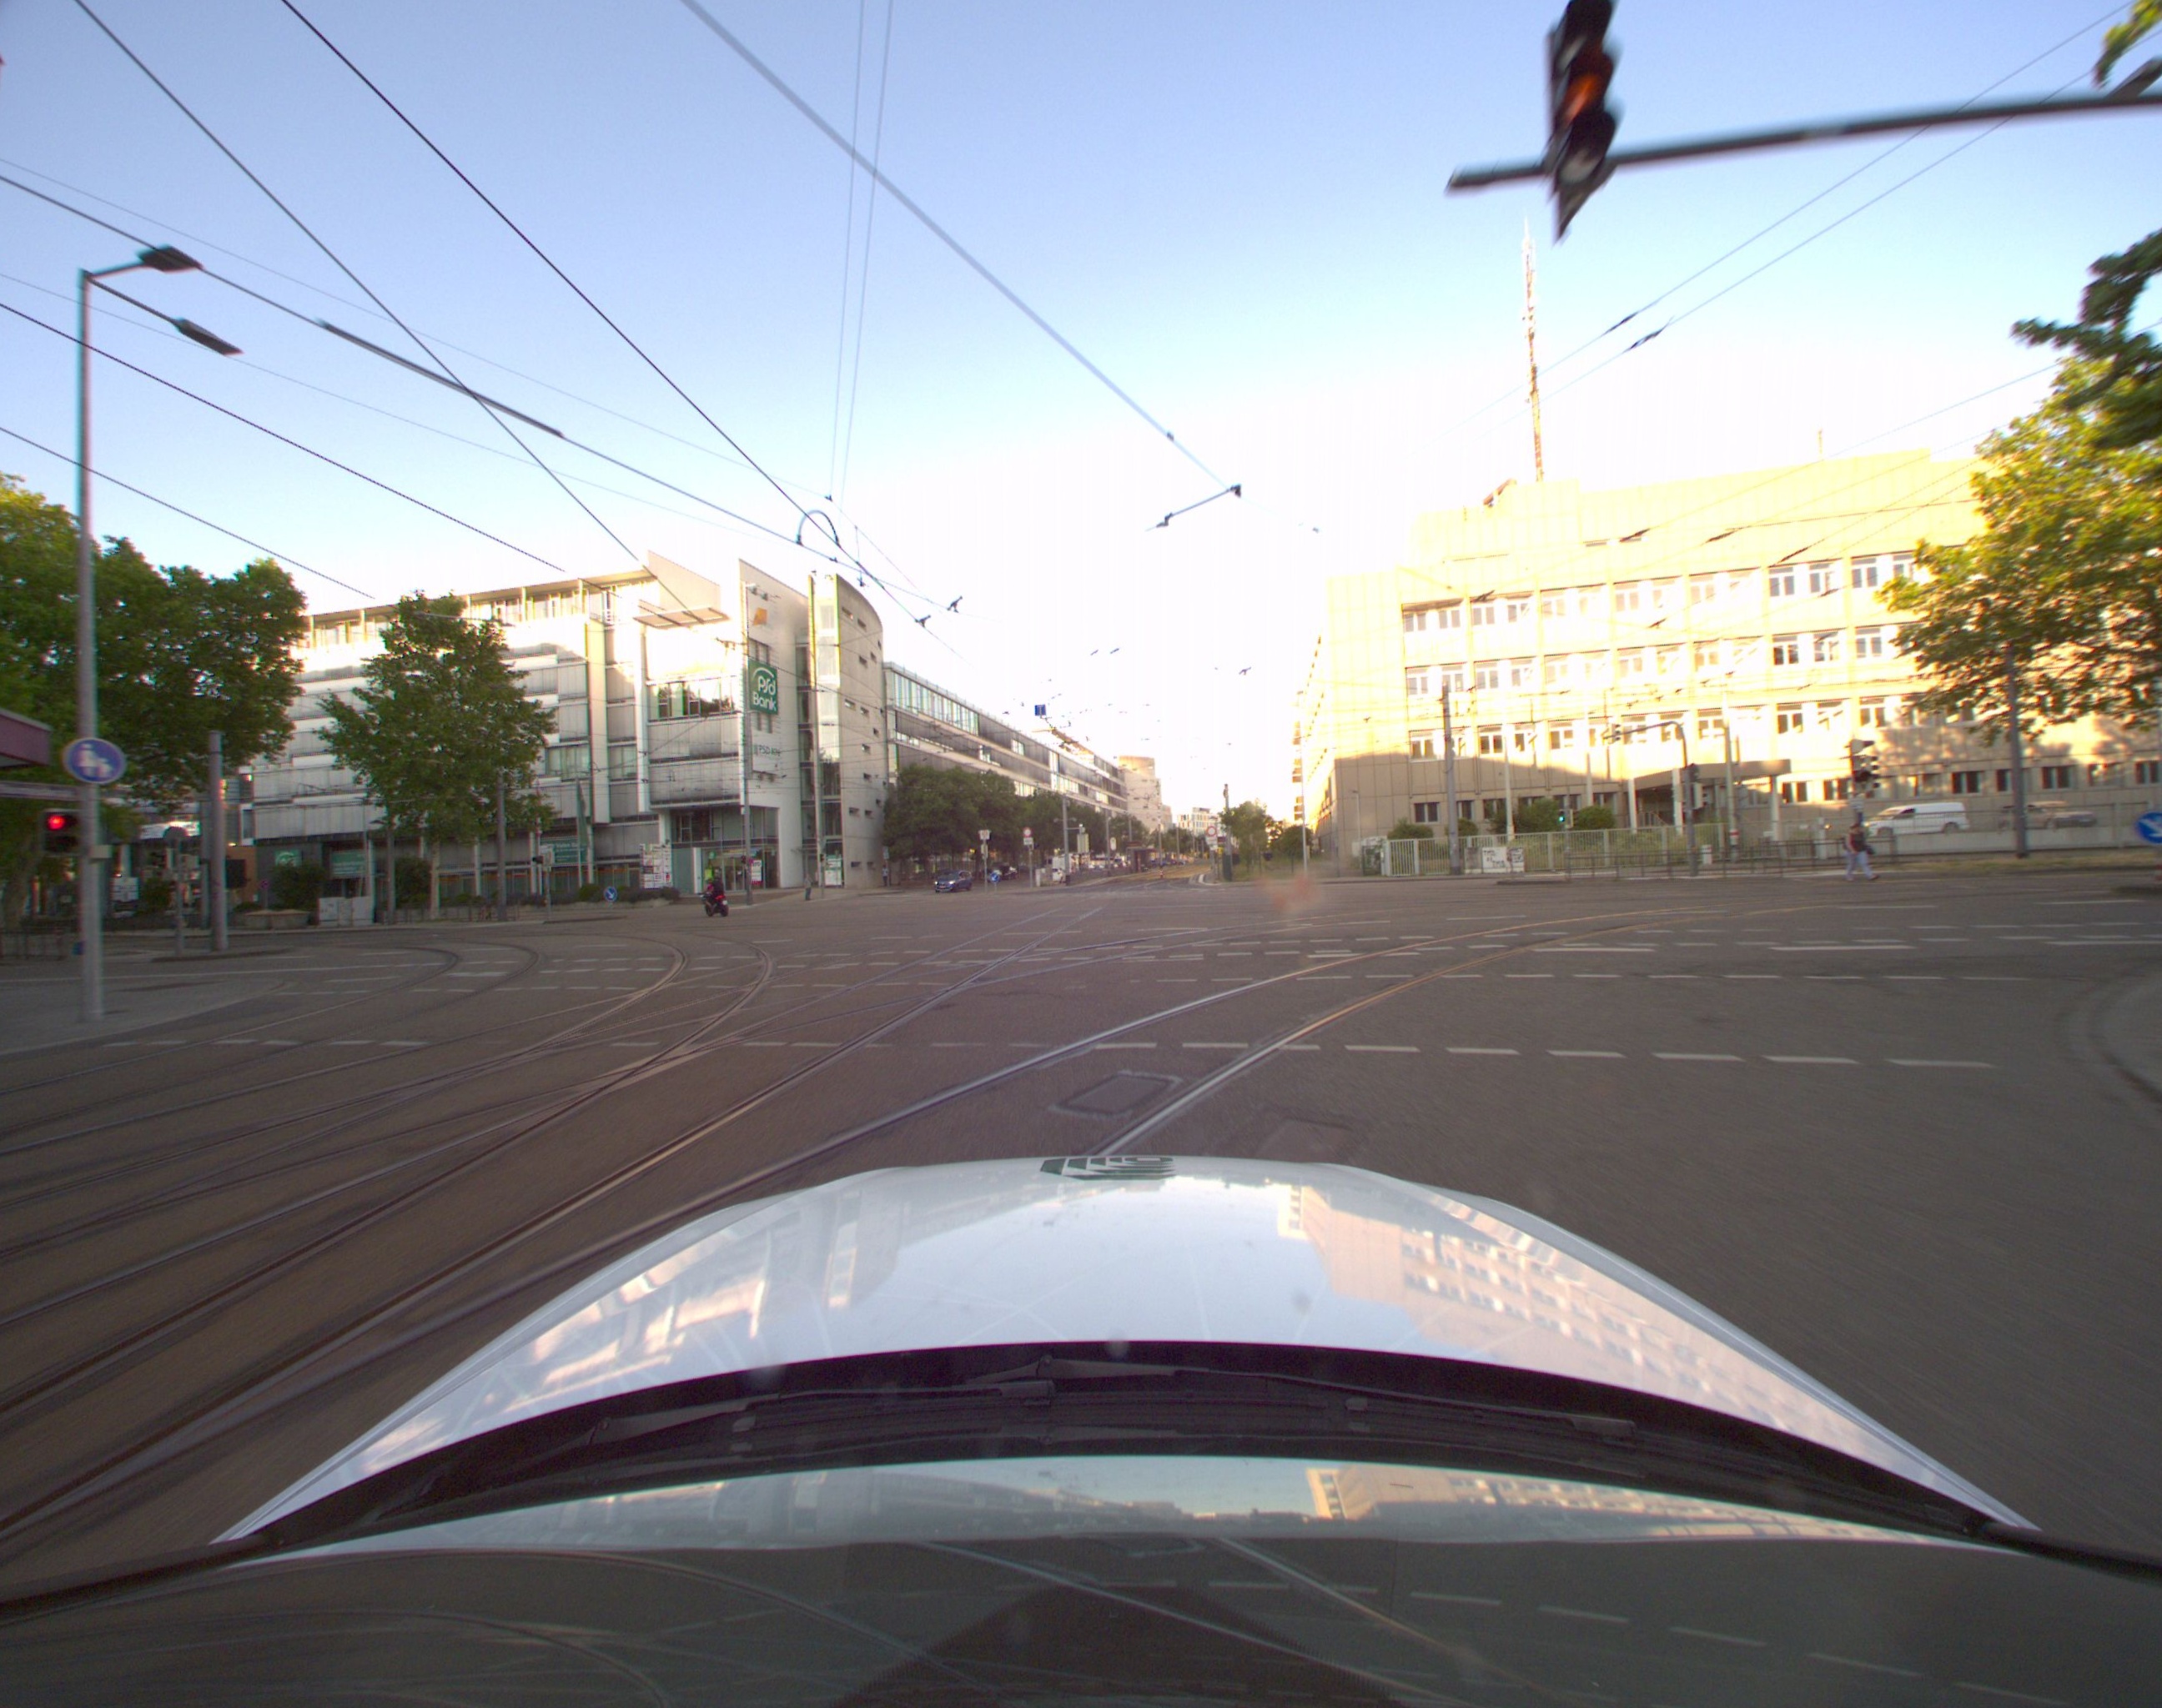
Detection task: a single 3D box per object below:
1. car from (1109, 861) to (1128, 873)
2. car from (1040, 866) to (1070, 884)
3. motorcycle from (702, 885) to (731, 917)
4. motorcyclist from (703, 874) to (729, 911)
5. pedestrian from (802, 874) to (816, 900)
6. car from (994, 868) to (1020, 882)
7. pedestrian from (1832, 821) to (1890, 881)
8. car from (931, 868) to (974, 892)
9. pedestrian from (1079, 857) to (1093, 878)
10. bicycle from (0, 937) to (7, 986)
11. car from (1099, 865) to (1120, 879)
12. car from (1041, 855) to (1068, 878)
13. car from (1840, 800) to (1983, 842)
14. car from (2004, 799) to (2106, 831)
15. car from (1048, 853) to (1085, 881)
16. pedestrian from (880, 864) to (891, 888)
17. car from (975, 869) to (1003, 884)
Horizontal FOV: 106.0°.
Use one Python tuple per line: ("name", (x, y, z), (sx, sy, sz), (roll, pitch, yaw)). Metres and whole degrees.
("car", (4.853, 1.686, 105.270), (1.671, 1.439, 4.140), (-3, -1, 12))
("car", (-2.258, 1.895, 72.700), (1.671, 1.439, 4.140), (-3, -1, 12))
("motorcycle", (-15.094, 1.910, 33.712), (0.833, 1.240, 2.467), (-2, -1, -30))
("motorcyclist", (-15.124, 1.574, 33.738), (0.833, 1.473, 1.195), (-2, -1, -31))
("pedestrian", (-18.136, 2.191, 54.252), (0.541, 1.711, 0.663), (-3, -1, 22))
("car", (-8.471, 2.373, 93.941), (1.671, 1.501, 4.254), (-3, -1, 13))
("pedestrian", (21.730, -0.082, 22.706), (0.749, 1.616, 0.831), (-2, -1, 8))
("car", (-9.962, 1.988, 63.366), (1.670, 1.700, 4.255), (-3, -1, 14))
("pedestrian", (0.490, 1.338, 79.147), (1.041, 2.030, 0.979), (-2, -1, -15))
("bicycle", (-21.758, 2.122, 15.254), (0.666, 0.957, 1.849), (-3, -1, 17))
("car", (3.430, 2.128, 97.323), (1.671, 1.439, 4.140), (-3, -1, 12))
("car", (-3.774, 1.725, 115.651), (2.186, 3.152, 6.164), (-3, -1, 13))
("car", (45.824, -1.792, 45.082), (5.043, 1.874, 2.283), (-3, -1, 13))
("car", (56.528, -2.225, 47.384), (1.814, 1.615, 4.016), (-2, -1, 15))
("car", (-1.356, 1.207, 78.506), (2.446, 2.482, 5.822), (-3, -1, 9))
("pedestrian", (-16.469, 1.861, 68.696), (0.659, 1.922, 0.548), (-3, -1, 1))
("car", (-9.902, 2.444, 88.063), (1.671, 1.501, 4.254), (-3, -1, 13))
